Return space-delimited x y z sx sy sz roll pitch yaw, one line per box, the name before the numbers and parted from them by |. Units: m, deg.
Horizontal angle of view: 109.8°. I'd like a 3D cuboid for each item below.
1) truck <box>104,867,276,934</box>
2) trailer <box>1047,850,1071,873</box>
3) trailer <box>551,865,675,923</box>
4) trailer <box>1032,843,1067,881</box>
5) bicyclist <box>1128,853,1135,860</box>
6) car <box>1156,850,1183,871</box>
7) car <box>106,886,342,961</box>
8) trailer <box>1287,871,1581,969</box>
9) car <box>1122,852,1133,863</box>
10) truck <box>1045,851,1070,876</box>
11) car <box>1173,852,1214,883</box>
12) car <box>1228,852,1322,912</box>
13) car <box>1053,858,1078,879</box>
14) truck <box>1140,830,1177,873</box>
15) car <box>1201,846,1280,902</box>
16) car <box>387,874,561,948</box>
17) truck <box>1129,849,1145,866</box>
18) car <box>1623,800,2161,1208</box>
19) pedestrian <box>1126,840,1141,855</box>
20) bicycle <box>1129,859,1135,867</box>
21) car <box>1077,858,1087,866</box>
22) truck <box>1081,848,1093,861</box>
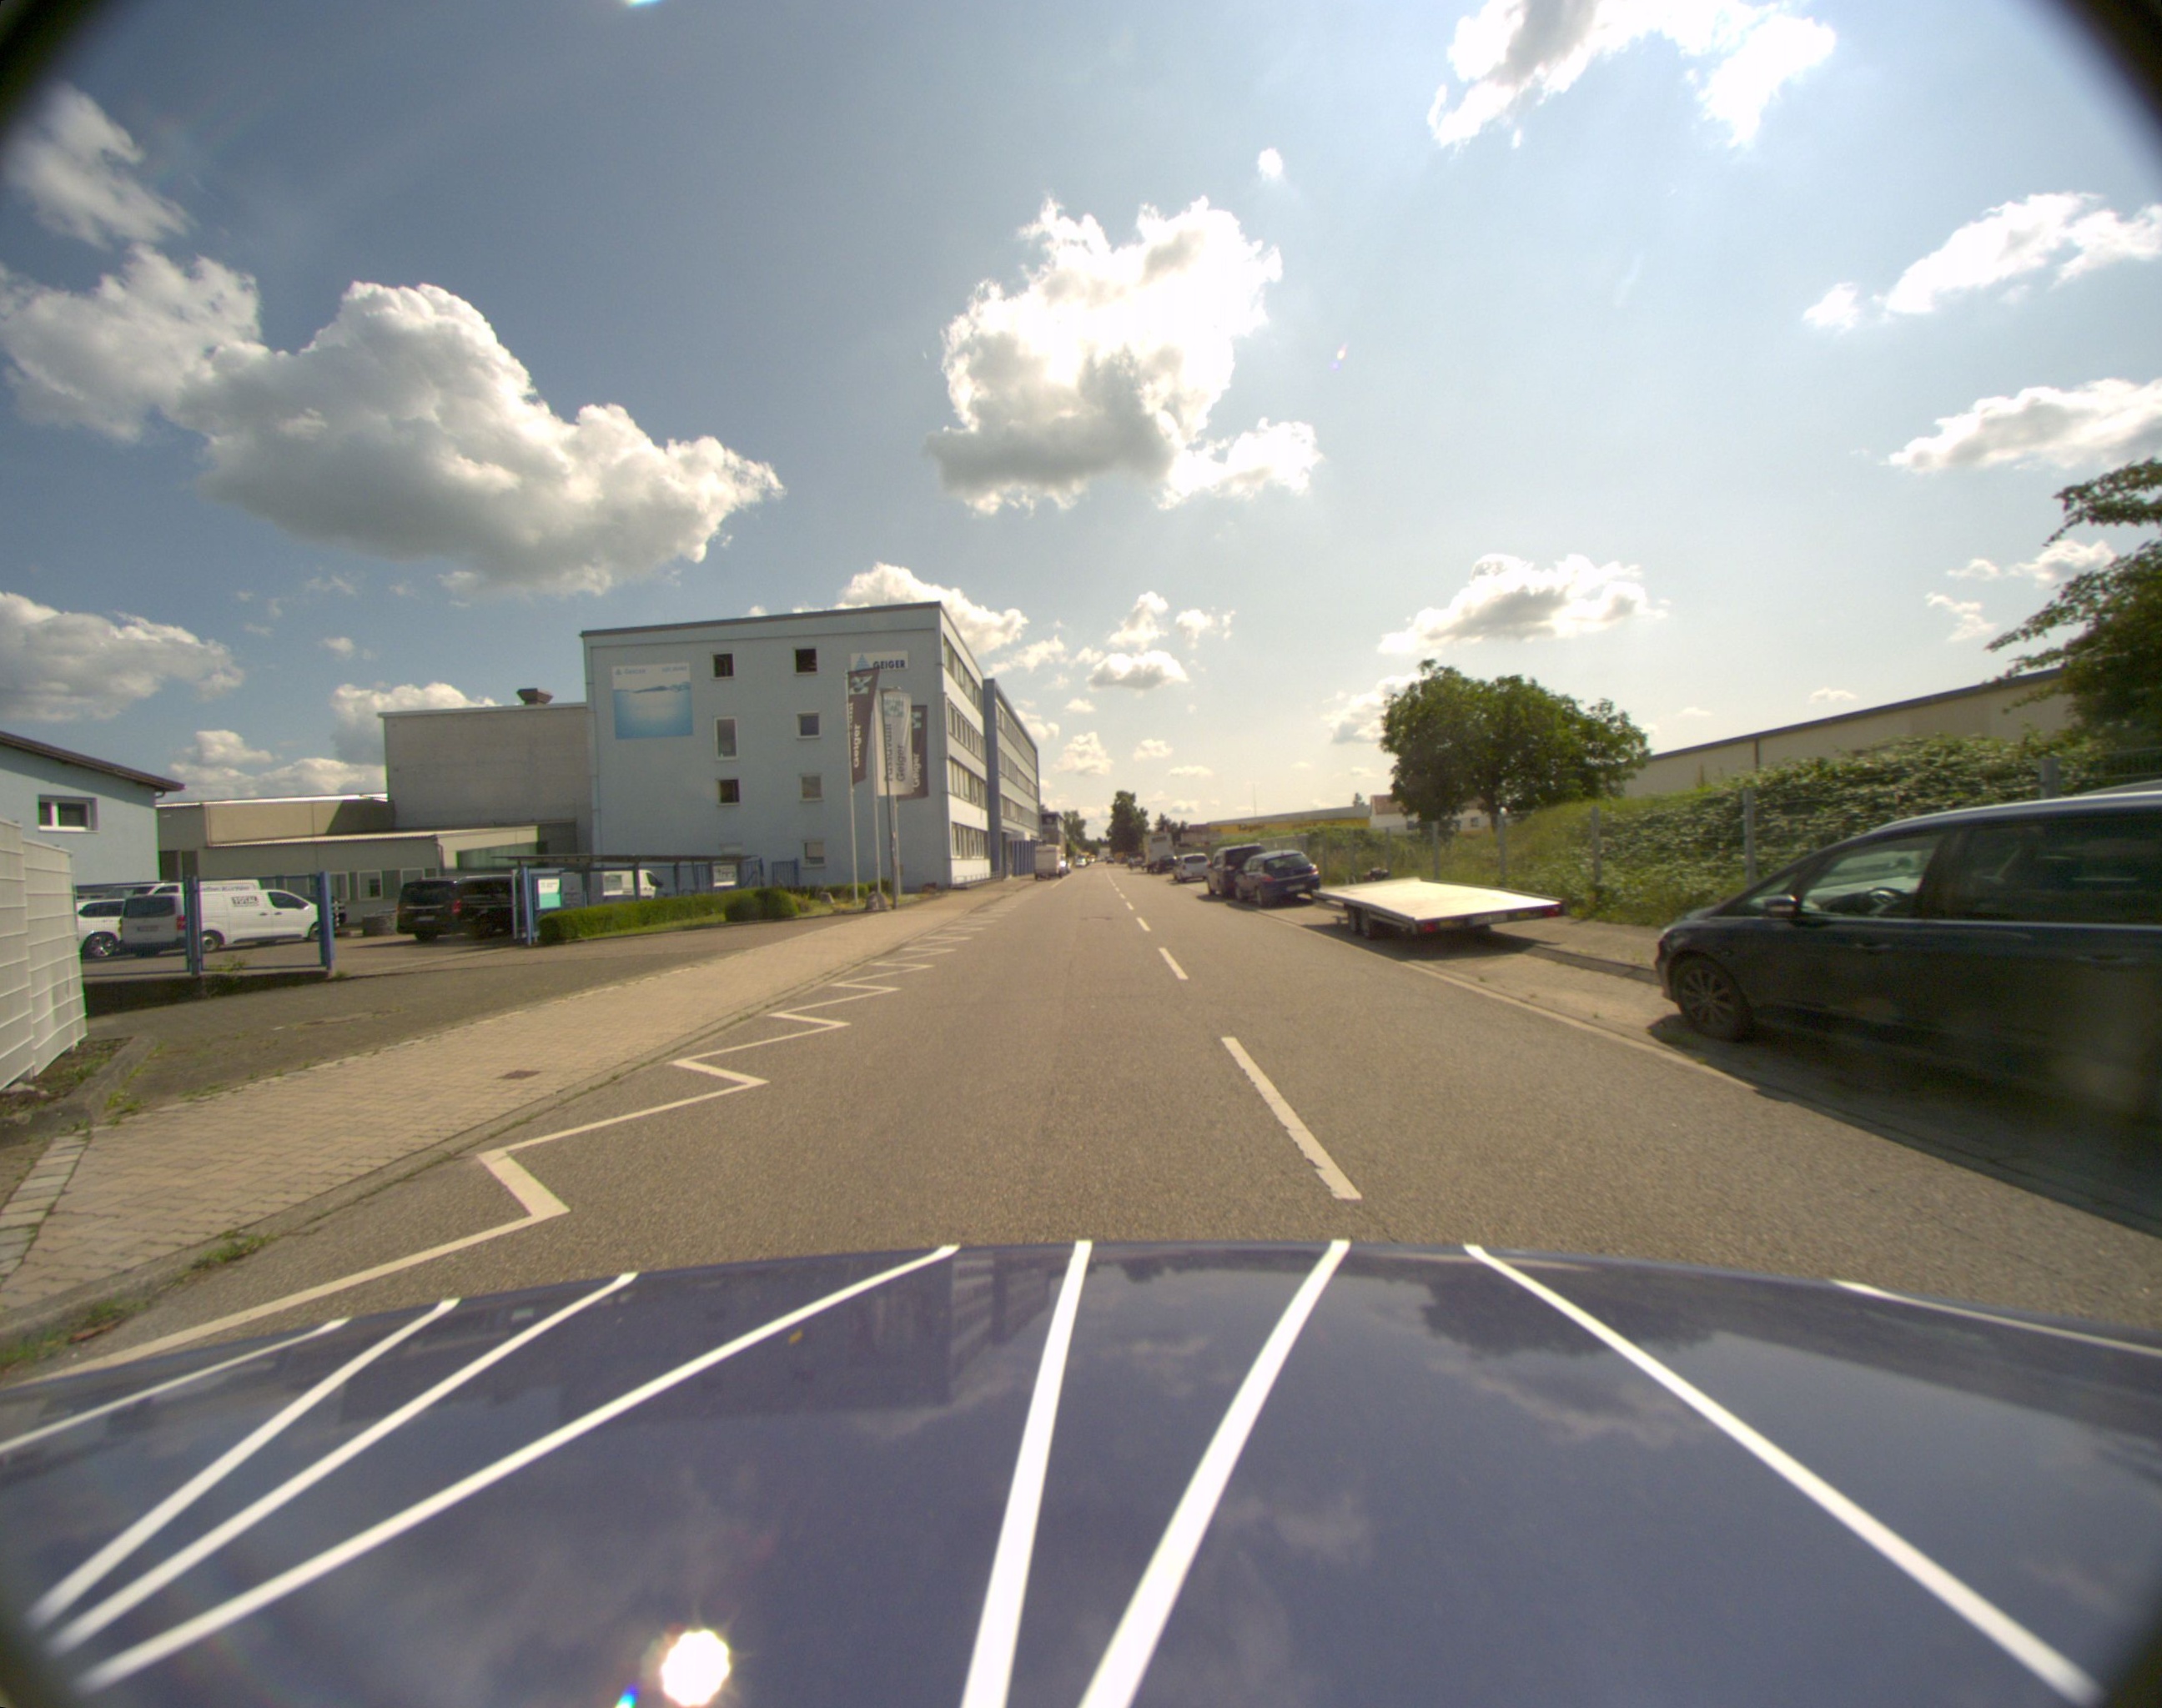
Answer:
truck | -35.707 1.790 30.630 1.998 2.350 4.000 -4 0 2
trailer | -2.009 0.666 71.434 1.978 1.959 5.766 -2 0 1
trailer | -18.318 1.487 30.110 1.689 1.973 5.277 -3 0 -2
trailer | -2.257 0.561 55.776 1.873 2.538 5.073 -2 0 4
bicyclist | 5.062 0.224 76.057 0.567 0.628 1.858 -4 -1 4
car | 6.995 0.523 60.559 1.623 1.421 3.827 -9 0 2
car | -26.535 2.062 23.850 1.999 1.794 4.710 -3 0 -1
trailer | 5.825 0.993 14.033 2.276 0.878 7.132 -7 0 2
car | 11.010 0.817 178.271 1.997 2.289 4.003 -3 0 11
truck | -2.093 0.821 68.173 1.969 2.023 4.734 -3 0 1
car | 6.012 0.705 40.869 1.619 1.474 3.710 -5 0 1
car | 5.591 0.742 22.387 1.581 1.504 4.201 -3 0 -1
car | -1.251 1.155 62.783 1.722 1.533 4.403 -4 0 2
truck | 6.844 -0.167 67.800 2.256 3.342 6.907 -7 -1 1
car | 5.579 0.651 27.203 1.805 1.739 4.713 -3 0 1
car | -18.579 1.660 23.563 1.999 1.859 4.140 -3 0 -1
truck | 8.272 0.465 112.589 2.133 2.225 7.351 -5 0 4
car | 5.616 0.621 4.215 1.831 1.783 4.735 -2 0 1
pedestrian | 7.655 -0.927 111.906 1.998 2.002 4.000 -4 0 3
bicycle | 5.122 0.907 76.064 0.589 0.737 2.126 -2 0 4
car | 0.250 1.495 139.029 1.657 1.324 4.000 -3 0 1
truck | 1.442 0.220 173.068 2.402 2.787 6.376 -3 0 3
